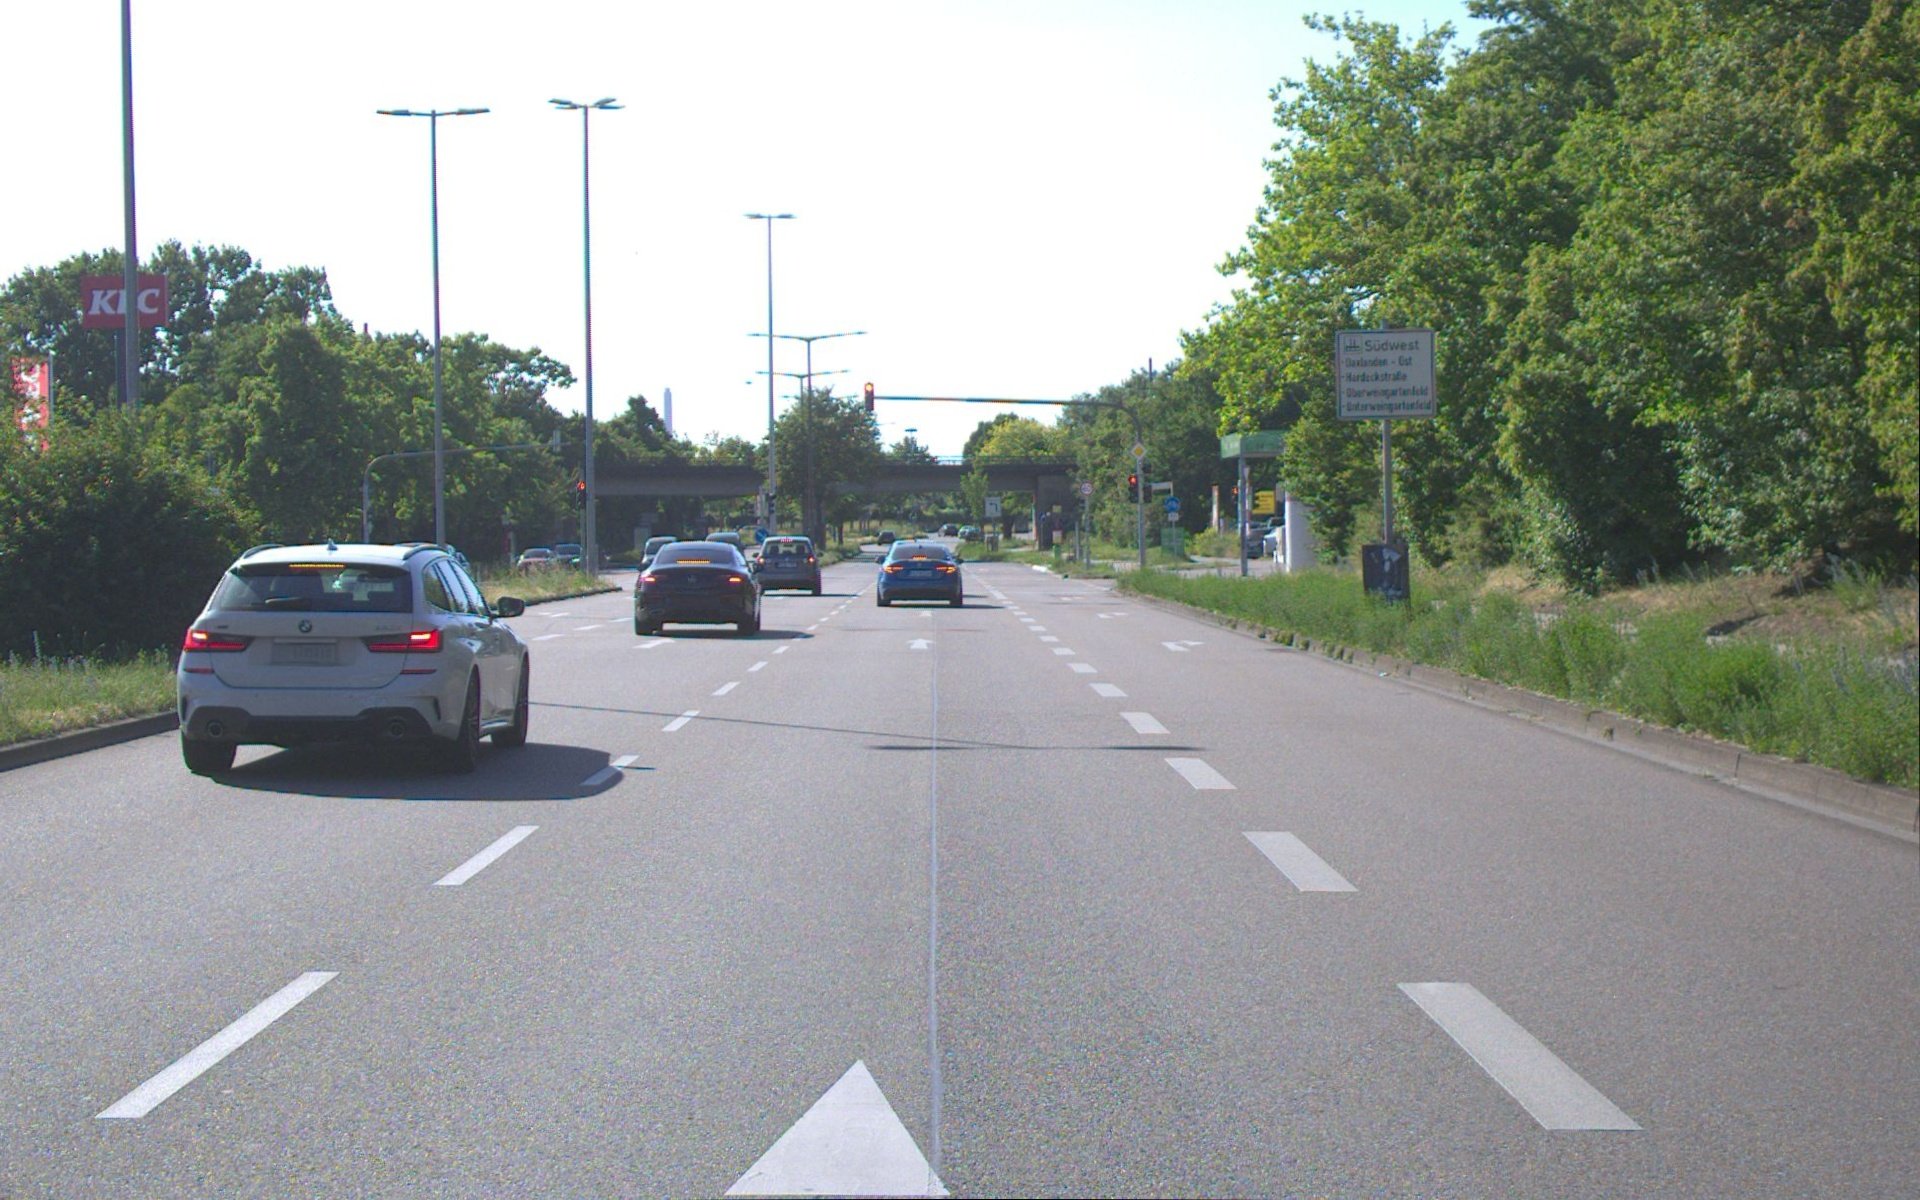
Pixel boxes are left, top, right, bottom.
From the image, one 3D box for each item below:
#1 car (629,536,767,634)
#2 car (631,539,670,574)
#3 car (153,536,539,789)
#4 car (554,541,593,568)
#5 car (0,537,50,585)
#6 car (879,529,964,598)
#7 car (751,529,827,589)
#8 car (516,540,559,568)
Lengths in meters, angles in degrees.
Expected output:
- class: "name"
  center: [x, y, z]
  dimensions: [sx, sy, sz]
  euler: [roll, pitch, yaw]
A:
- class: "car"
  center: [-4.092, -0.269, 54.356]
  dimensions: [1.861, 1.450, 4.548]
  euler: [-1, 1, -1]
- class: "car"
  center: [-14.602, -2.075, 162.379]
  dimensions: [1.535, 1.575, 3.671]
  euler: [-1, 1, 0]
- class: "car"
  center: [-3.990, 0.336, 23.051]
  dimensions: [1.861, 1.450, 4.548]
  euler: [1, 2, -1]
- class: "car"
  center: [-20.832, -2.465, 185.336]
  dimensions: [1.703, 1.397, 3.723]
  euler: [-1, 1, 0]
- class: "car"
  center: [-37.052, -1.514, 132.799]
  dimensions: [1.922, 1.777, 4.084]
  euler: [-1, 2, -44]
- class: "car"
  center: [-0.870, -0.852, 77.711]
  dimensions: [1.861, 1.494, 4.337]
  euler: [0, 1, -1]
- class: "car"
  center: [-4.591, -1.137, 92.914]
  dimensions: [1.861, 1.560, 4.548]
  euler: [0, 1, -1]
- class: "car"
  center: [-21.037, -2.300, 171.184]
  dimensions: [1.703, 1.397, 3.723]
  euler: [0, 1, 0]
